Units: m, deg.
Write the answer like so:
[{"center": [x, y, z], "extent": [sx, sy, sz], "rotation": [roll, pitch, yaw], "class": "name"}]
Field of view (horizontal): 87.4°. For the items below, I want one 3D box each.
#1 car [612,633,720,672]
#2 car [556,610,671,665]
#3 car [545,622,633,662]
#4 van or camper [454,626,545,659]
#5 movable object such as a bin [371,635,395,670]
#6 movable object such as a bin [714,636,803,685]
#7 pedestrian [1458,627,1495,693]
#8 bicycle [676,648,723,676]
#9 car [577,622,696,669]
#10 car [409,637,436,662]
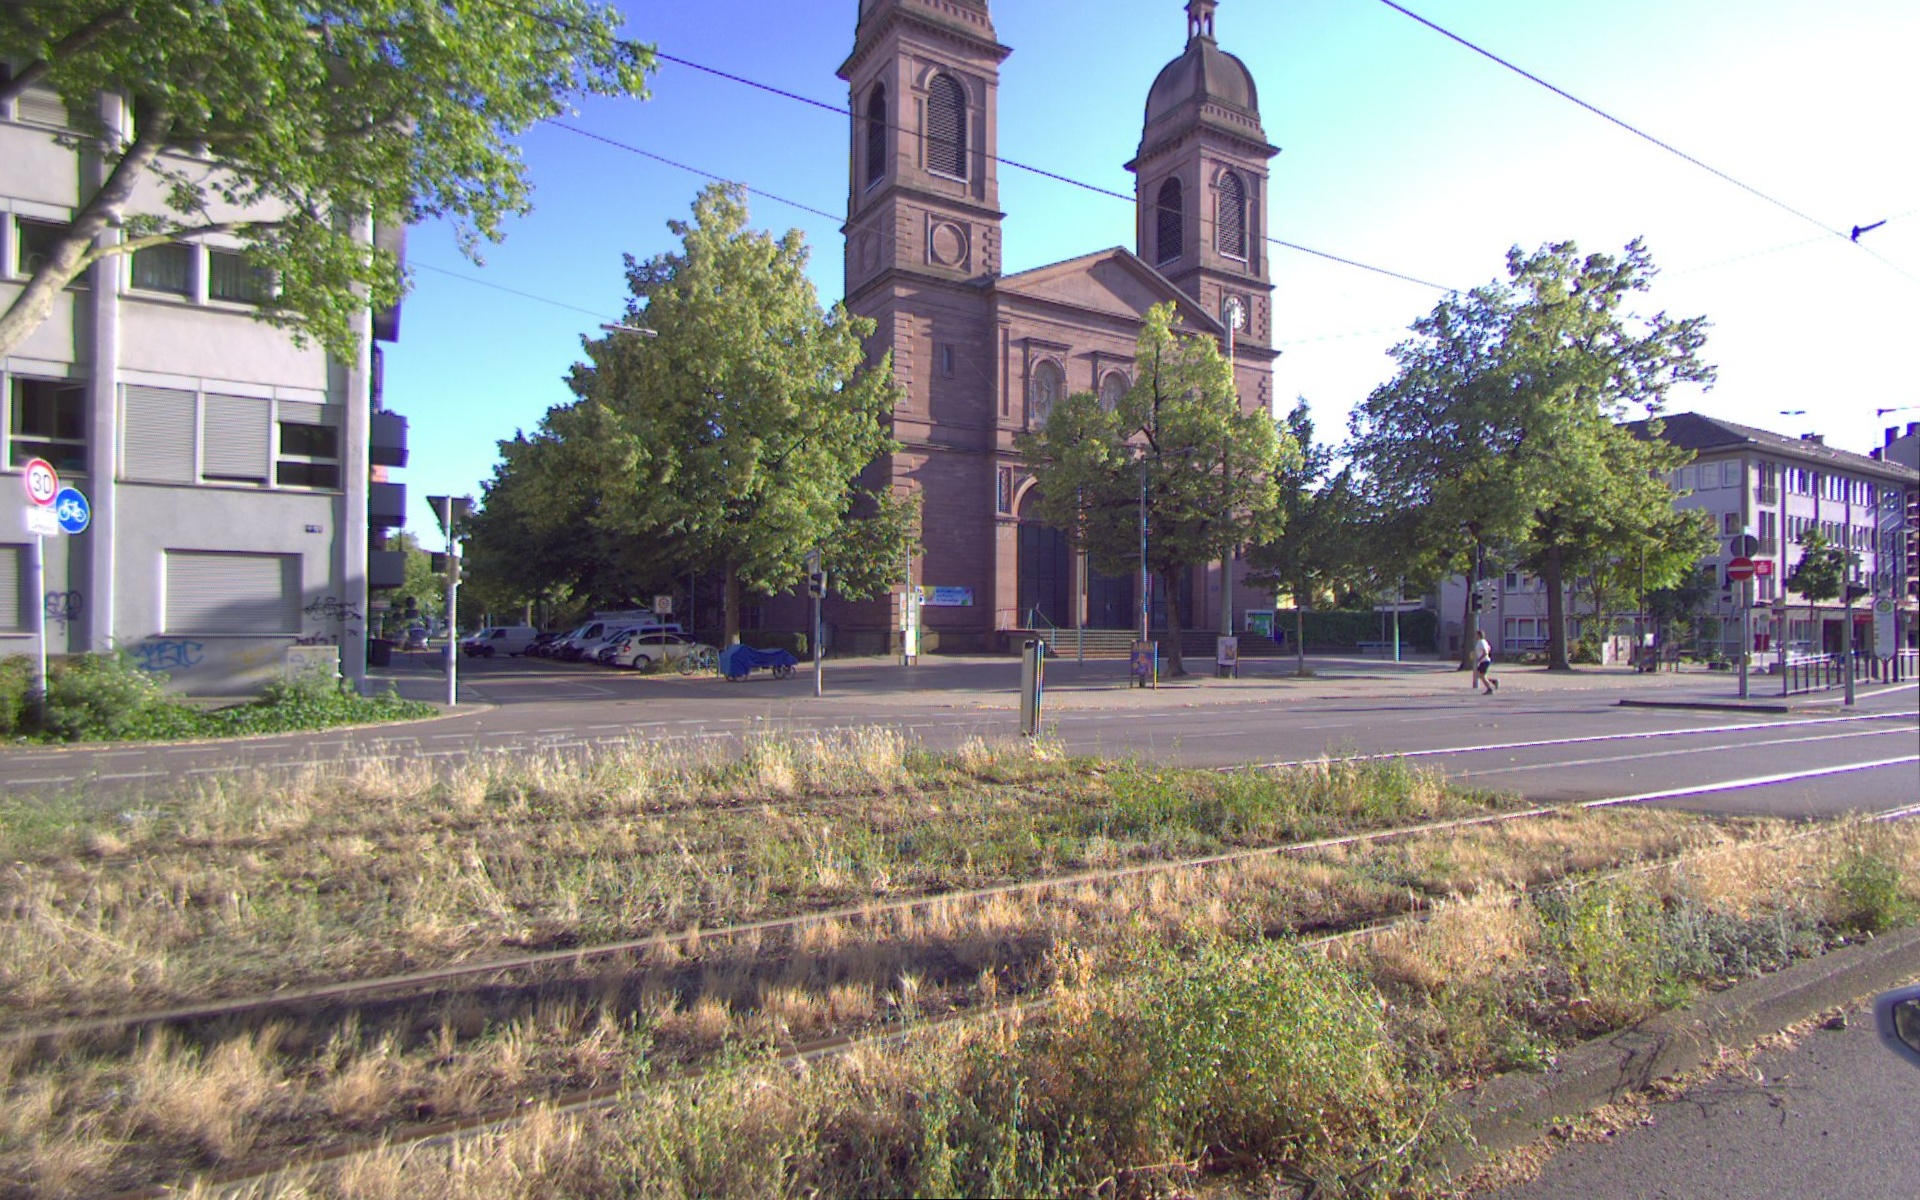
[{"center": [-12.223, 2.171, 41.829], "extent": [3.953, 1.479, 1.984], "rotation": [2, 0, -30], "class": "car"}, {"center": [-18.292, 1.952, 53.116], "extent": [5.382, 2.710, 1.980], "rotation": [2, 0, -36], "class": "car"}, {"center": [-20.421, 2.294, 55.274], "extent": [4.174, 2.040, 1.981], "rotation": [2, 0, -34], "class": "car"}, {"center": [-29.971, 2.763, 65.538], "extent": [1.965, 2.040, 5.124], "rotation": [0, -2, 31], "class": "van or camper"}, {"center": [-22.299, 2.023, 38.813], "extent": [0.737, 1.323, 0.865], "rotation": [1, -2, -32], "class": "movable object such as a bin"}, {"center": [-6.150, 1.827, 30.719], "extent": [2.416, 1.228, 1.102], "rotation": [-3, 2, -30], "class": "movable object such as a bin"}, {"center": [14.202, 1.630, 27.605], "extent": [0.680, 1.794, 0.675], "rotation": [1, -2, -35], "class": "pedestrian"}, {"center": [-9.058, 2.158, 34.970], "extent": [1.517, 0.904, 0.465], "rotation": [2, 0, -27], "class": "bicycle"}, {"center": [-15.520, 2.169, 48.323], "extent": [5.121, 2.040, 1.981], "rotation": [2, 0, -34], "class": "car"}, {"center": [-45.769, 4.184, 85.476], "extent": [1.976, 2.040, 3.970], "rotation": [1, -2, -29], "class": "car"}]
